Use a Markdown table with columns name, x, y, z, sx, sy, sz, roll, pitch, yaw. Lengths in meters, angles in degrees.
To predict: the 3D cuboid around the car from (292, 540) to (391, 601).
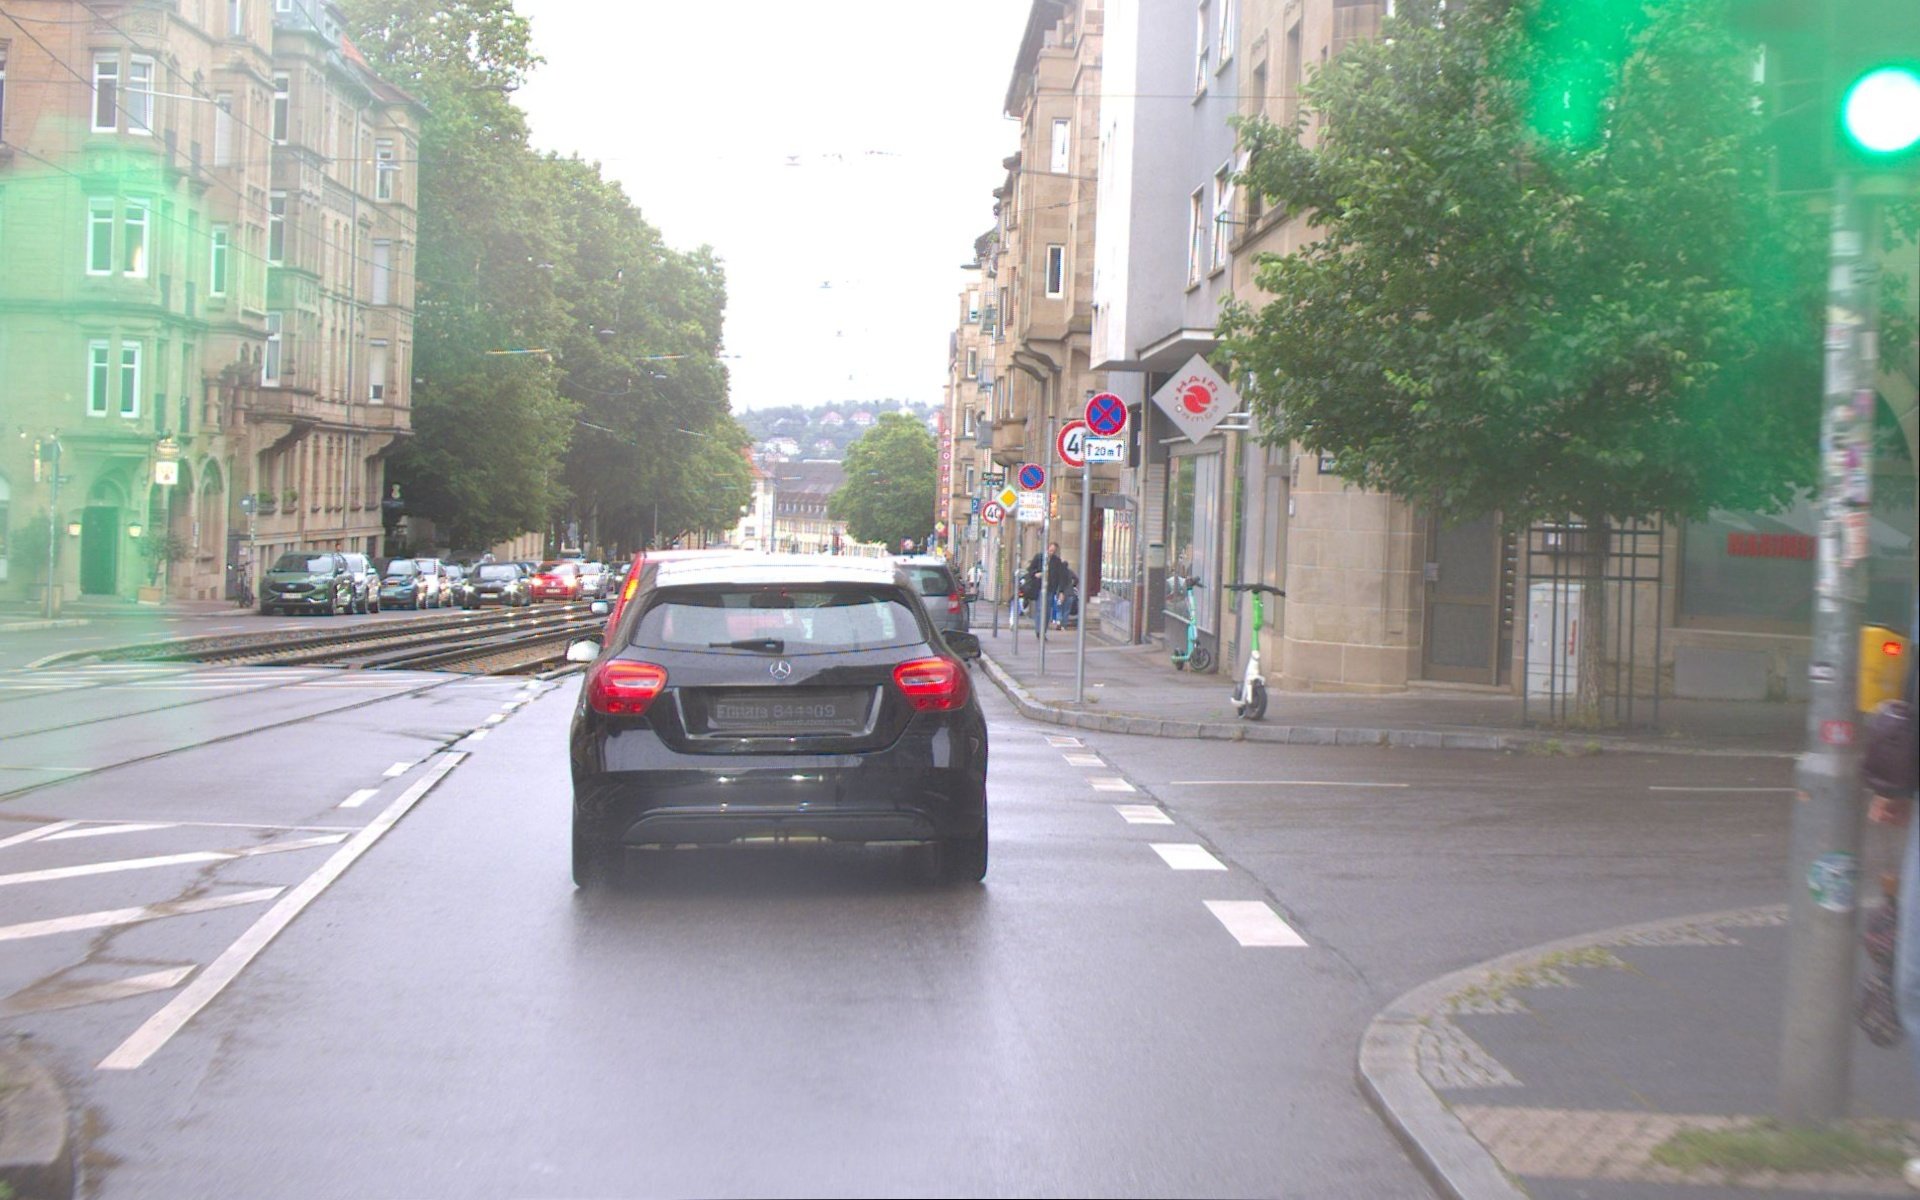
| name | x | y | z | sx | sy | sz | roll | pitch | yaw |
| --- | --- | --- | --- | --- | --- | --- | --- | --- | --- |
| car | -16.774 | -0.814 | 93.442 | 1.806 | 1.591 | 4.525 | 0 | 1 | 1 |

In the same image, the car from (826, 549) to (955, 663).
| name | x | y | z | sx | sy | sz | roll | pitch | yaw |
| --- | --- | --- | --- | --- | --- | --- | --- | --- | --- |
| car | -1.004 | 0.062 | 50.091 | 1.765 | 1.553 | 4.746 | 1 | 1 | -1 |

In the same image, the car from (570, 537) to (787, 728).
| name | x | y | z | sx | sy | sz | roll | pitch | yaw |
| --- | --- | --- | --- | --- | --- | --- | --- | --- | --- |
| car | -2.321 | 0.227 | 28.950 | 1.649 | 1.447 | 4.001 | 2 | 1 | -3 |

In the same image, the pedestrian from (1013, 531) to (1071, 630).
| name | x | y | z | sx | sy | sz | roll | pitch | yaw |
| --- | --- | --- | --- | --- | --- | --- | --- | --- | --- |
| pedestrian | 1.475 | -0.354 | 62.232 | 0.945 | 1.763 | 1.015 | 1 | 1 | -3 |

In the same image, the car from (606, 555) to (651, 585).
| name | x | y | z | sx | sy | sz | roll | pitch | yaw |
| --- | --- | --- | --- | --- | --- | --- | --- | --- | --- |
| car | -15.459 | -1.396 | 160.379 | 1.695 | 1.384 | 3.481 | 0 | 1 | 1 |

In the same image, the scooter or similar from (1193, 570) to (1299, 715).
| name | x | y | z | sx | sy | sz | roll | pitch | yaw |
| --- | --- | --- | --- | --- | --- | --- | --- | --- | --- |
| scooter or similar | 2.456 | 0.352 | 29.651 | 0.638 | 1.206 | 1.553 | 0 | 1 | -5 |

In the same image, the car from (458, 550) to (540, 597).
| name | x | y | z | sx | sy | sz | roll | pitch | yaw |
| --- | --- | --- | --- | --- | --- | --- | --- | --- | --- |
| car | -13.990 | -0.821 | 104.577 | 1.948 | 1.392 | 4.274 | 0 | 1 | -1 |

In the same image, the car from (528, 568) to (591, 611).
| name | x | y | z | sx | sy | sz | roll | pitch | yaw |
| --- | --- | --- | --- | --- | --- | --- | --- | --- | --- |
| car | -14.182 | -0.378 | 121.931 | 1.681 | 1.492 | 3.518 | 1 | 1 | 3 |

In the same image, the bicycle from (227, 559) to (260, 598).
| name | x | y | z | sx | sy | sz | roll | pitch | yaw |
| --- | --- | --- | --- | --- | --- | --- | --- | --- | --- |
| bicycle | -18.536 | -0.558 | 88.999 | 0.598 | 0.997 | 2.080 | 0 | 1 | -5 |

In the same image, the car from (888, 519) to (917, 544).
| name | x | y | z | sx | sy | sz | roll | pitch | yaw |
| --- | --- | --- | --- | --- | --- | --- | --- | --- | --- |
| car | -3.380 | -4.010 | 201.720 | 1.613 | 1.313 | 4.000 | 3 | 0 | -1 |

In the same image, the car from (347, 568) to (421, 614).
| name | x | y | z | sx | sy | sz | roll | pitch | yaw |
| --- | --- | --- | --- | --- | --- | --- | --- | --- | --- |
| car | -17.222 | -0.279 | 102.889 | 1.569 | 1.312 | 3.481 | 0 | 1 | 1 |

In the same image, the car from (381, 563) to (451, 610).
| name | x | y | z | sx | sy | sz | roll | pitch | yaw |
| --- | --- | --- | --- | --- | --- | --- | --- | --- | --- |
| car | -16.954 | -0.432 | 107.295 | 1.569 | 1.408 | 3.481 | 0 | 1 | 1 |

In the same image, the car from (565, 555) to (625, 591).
| name | x | y | z | sx | sy | sz | roll | pitch | yaw |
| --- | --- | --- | --- | --- | --- | --- | --- | --- | --- |
| car | -14.079 | -1.049 | 132.883 | 1.806 | 1.356 | 4.763 | 0 | 1 | 0 |

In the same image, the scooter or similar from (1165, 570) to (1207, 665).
| name | x | y | z | sx | sy | sz | roll | pitch | yaw |
| --- | --- | --- | --- | --- | --- | --- | --- | --- | --- |
| scooter or similar | 2.951 | 0.226 | 44.958 | 0.395 | 1.212 | 1.107 | 1 | 1 | -3 |

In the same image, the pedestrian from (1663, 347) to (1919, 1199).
| name | x | y | z | sx | sy | sz | roll | pitch | yaw |
| --- | --- | --- | --- | --- | --- | --- | --- | --- | --- |
| pedestrian | 2.121 | 0.409 | 7.190 | 0.965 | 1.834 | 0.902 | -2 | 1 | -8 |

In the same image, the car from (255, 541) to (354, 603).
| name | x | y | z | sx | sy | sz | roll | pitch | yaw |
| --- | --- | --- | --- | --- | --- | --- | --- | --- | --- |
| car | -16.727 | -0.721 | 87.925 | 1.722 | 1.536 | 3.934 | 0 | 1 | 1 |

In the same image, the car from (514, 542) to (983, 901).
| name | x | y | z | sx | sy | sz | roll | pitch | yaw |
| --- | --- | --- | --- | --- | --- | --- | --- | --- | --- |
| car | -0.845 | 0.466 | 15.926 | 1.866 | 1.447 | 4.000 | 0 | 1 | 1 |
